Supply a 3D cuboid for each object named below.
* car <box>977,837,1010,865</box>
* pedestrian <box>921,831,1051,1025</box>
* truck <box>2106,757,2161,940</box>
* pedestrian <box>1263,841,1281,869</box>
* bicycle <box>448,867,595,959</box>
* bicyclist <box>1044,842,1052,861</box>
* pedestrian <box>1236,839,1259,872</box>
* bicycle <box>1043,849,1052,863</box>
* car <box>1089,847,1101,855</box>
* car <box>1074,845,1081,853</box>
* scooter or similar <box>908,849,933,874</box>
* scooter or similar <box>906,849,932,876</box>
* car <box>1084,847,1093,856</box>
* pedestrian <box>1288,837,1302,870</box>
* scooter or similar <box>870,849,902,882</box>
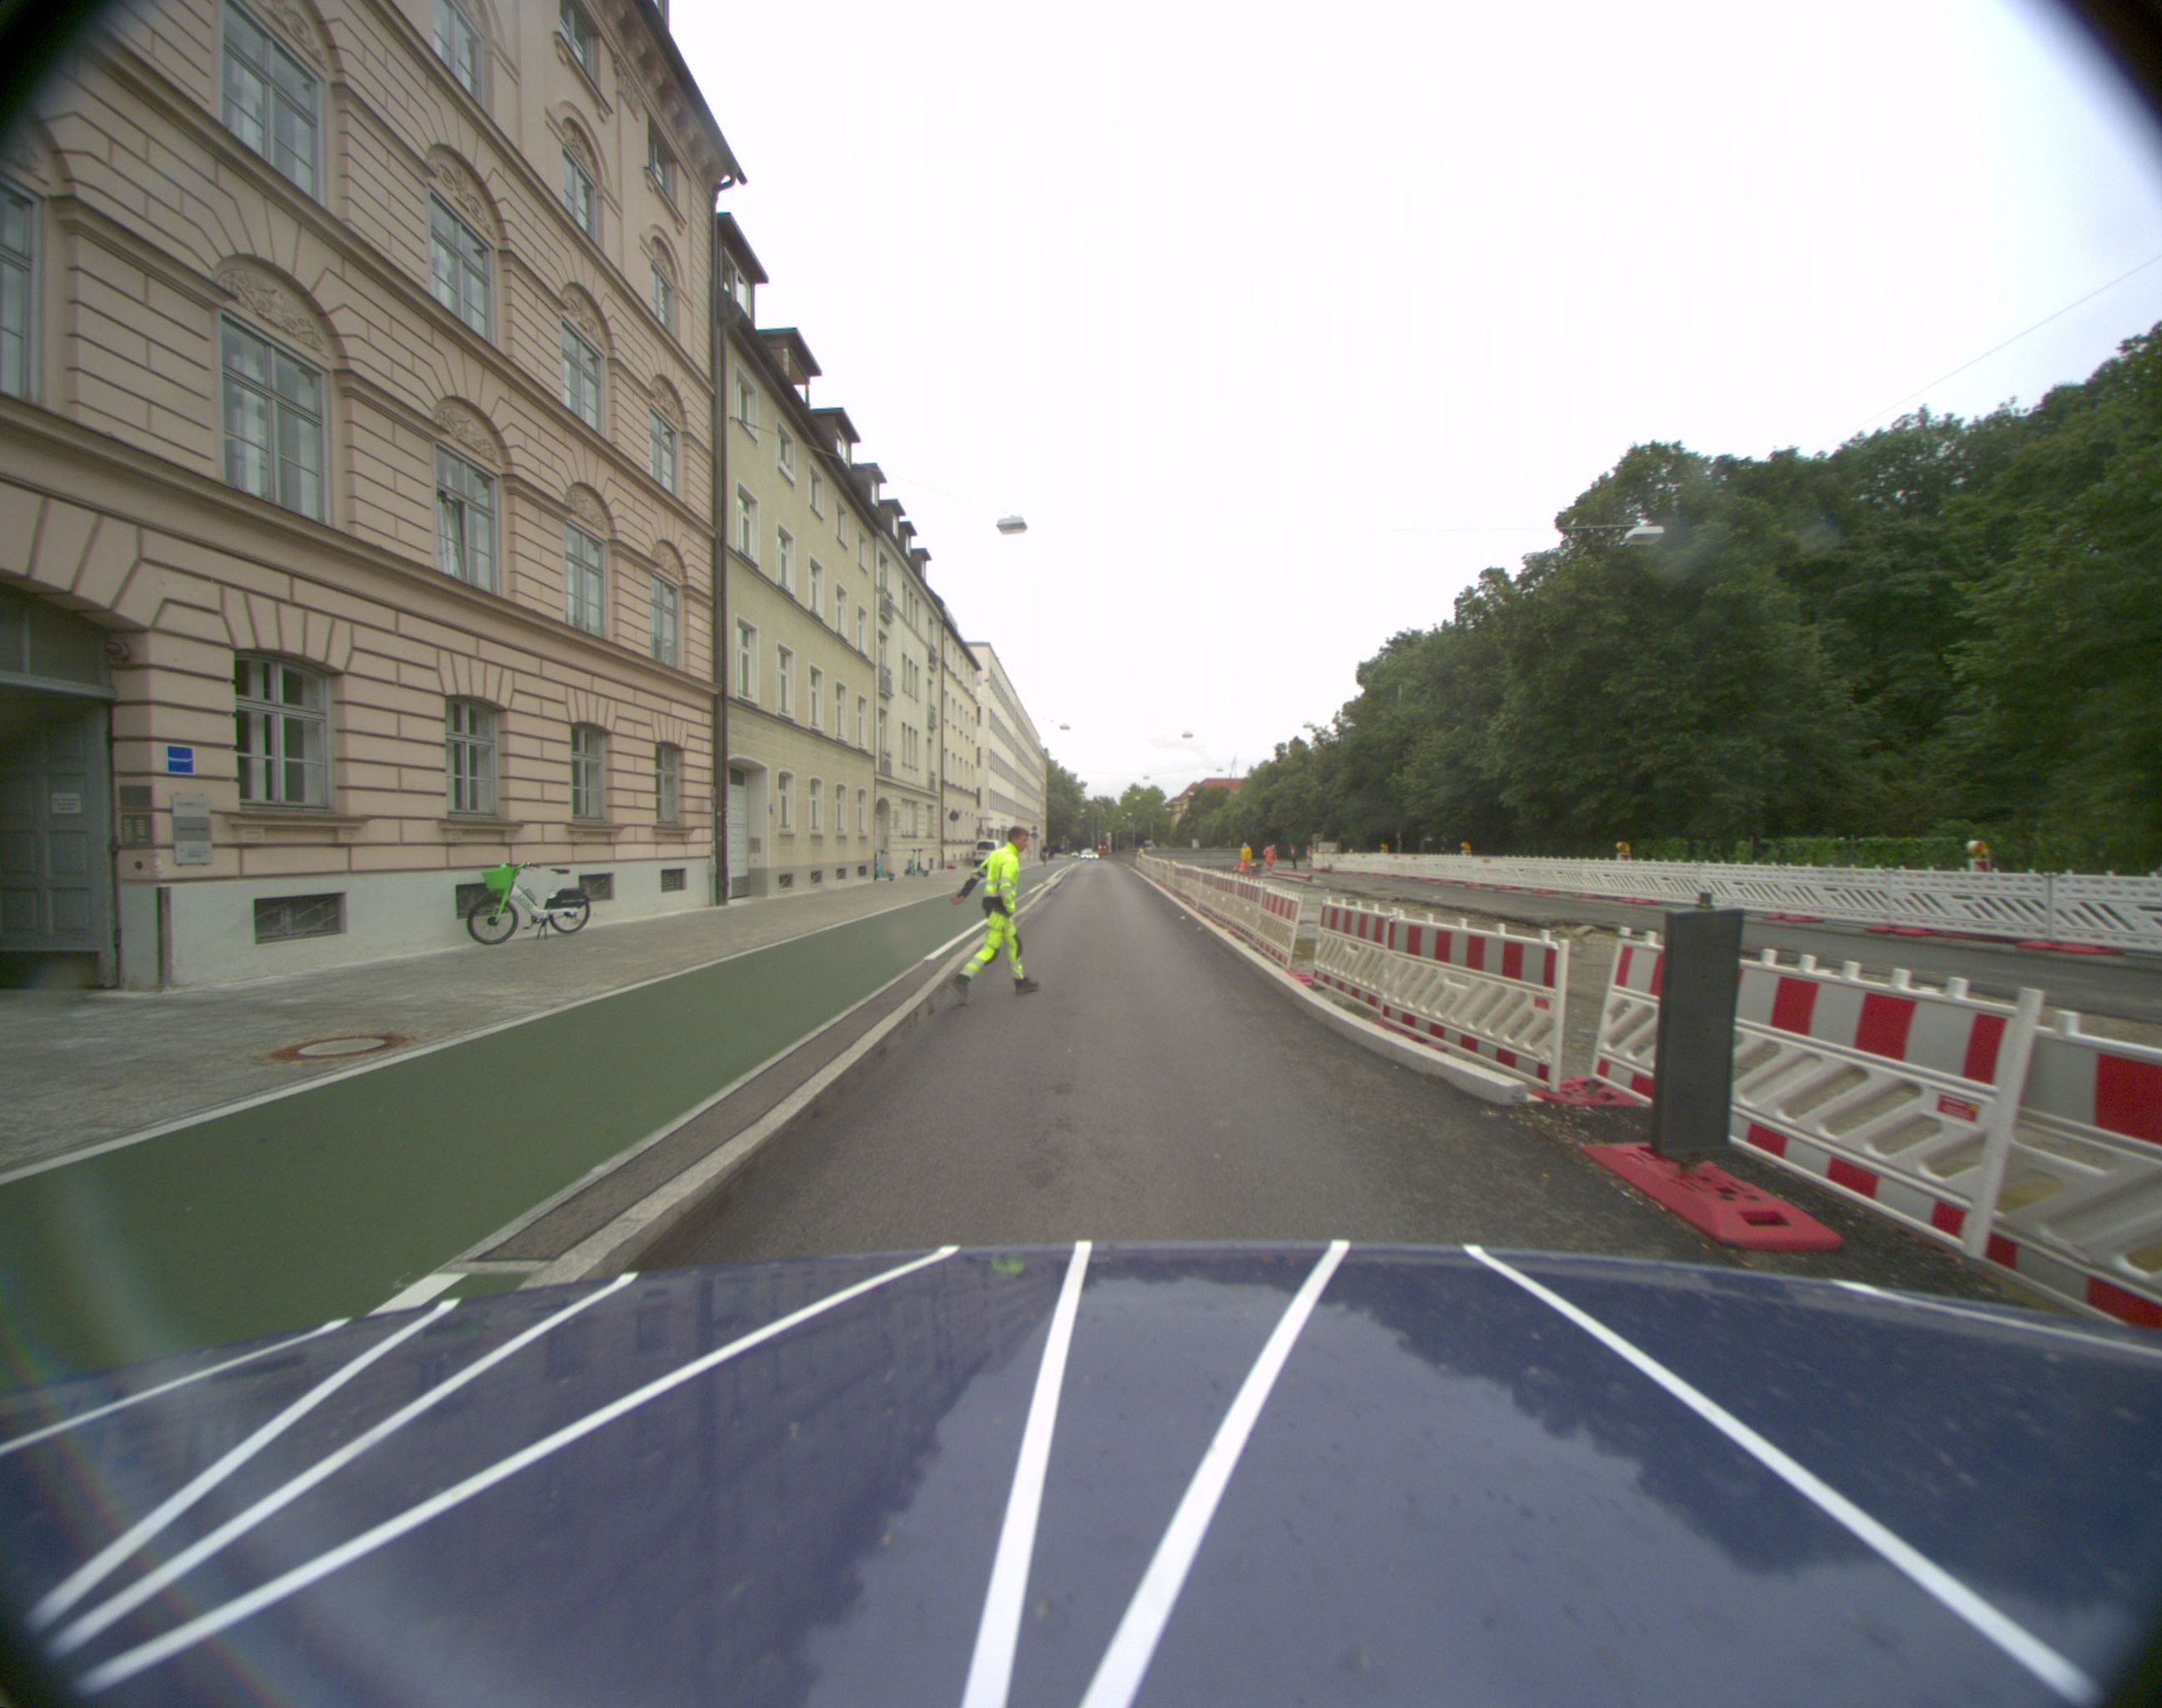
[{"bbox_3d":[-5.986,-0.229,52.204,1.766,1.821,3.999,0,1,1],"label":"car"},{"bbox_3d":[-0.954,0.691,7.664,0.813,1.792,0.995,-1,-1,45],"label":"pedestrian"},{"bbox_3d":[17.607,-0.033,9.225,2.127,2.833,6.212,1,1,4],"label":"truck"},{"bbox_3d":[11.755,0.043,46.789,0.899,1.679,0.911,1,1,4],"label":"pedestrian"},{"bbox_3d":[-8.033,0.800,11.015,0.556,1.170,1.727,1,1,16],"label":"bicycle"},{"bbox_3d":[-2.560,-0.176,59.067,0.632,1.459,0.652,0,2,-5],"label":"bicyclist"},{"bbox_3d":[9.235,0.072,42.148,0.877,1.826,0.858,-1,2,-44],"label":"pedestrian"},{"bbox_3d":[-2.631,0.136,59.052,0.632,1.031,2.016,0,1,-5],"label":"bicycle"},{"bbox_3d":[2.543,-0.592,138.484,1.759,1.462,3.998,-1,1,-4],"label":"car"},{"bbox_3d":[-1.038,-1.485,210.446,1.999,2.002,3.998,-2,2,-1],"label":"car"},{"bbox_3d":[-7.565,0.344,35.742,1.079,1.185,0.436,-1,2,-39],"label":"scooter or similar"},{"bbox_3d":[-7.324,0.371,34.402,1.078,1.185,0.453,0,2,-28],"label":"scooter or similar"},{"bbox_3d":[1.662,-0.615,172.174,1.998,2.002,3.999,-1,2,2],"label":"car"},{"bbox_3d":[12.906,-0.021,45.840,0.666,1.959,0.807,1,2,27],"label":"pedestrian"},{"bbox_3d":[-7.594,0.446,29.630,0.552,1.238,1.079,2,2,36],"label":"scooter or similar"}]
